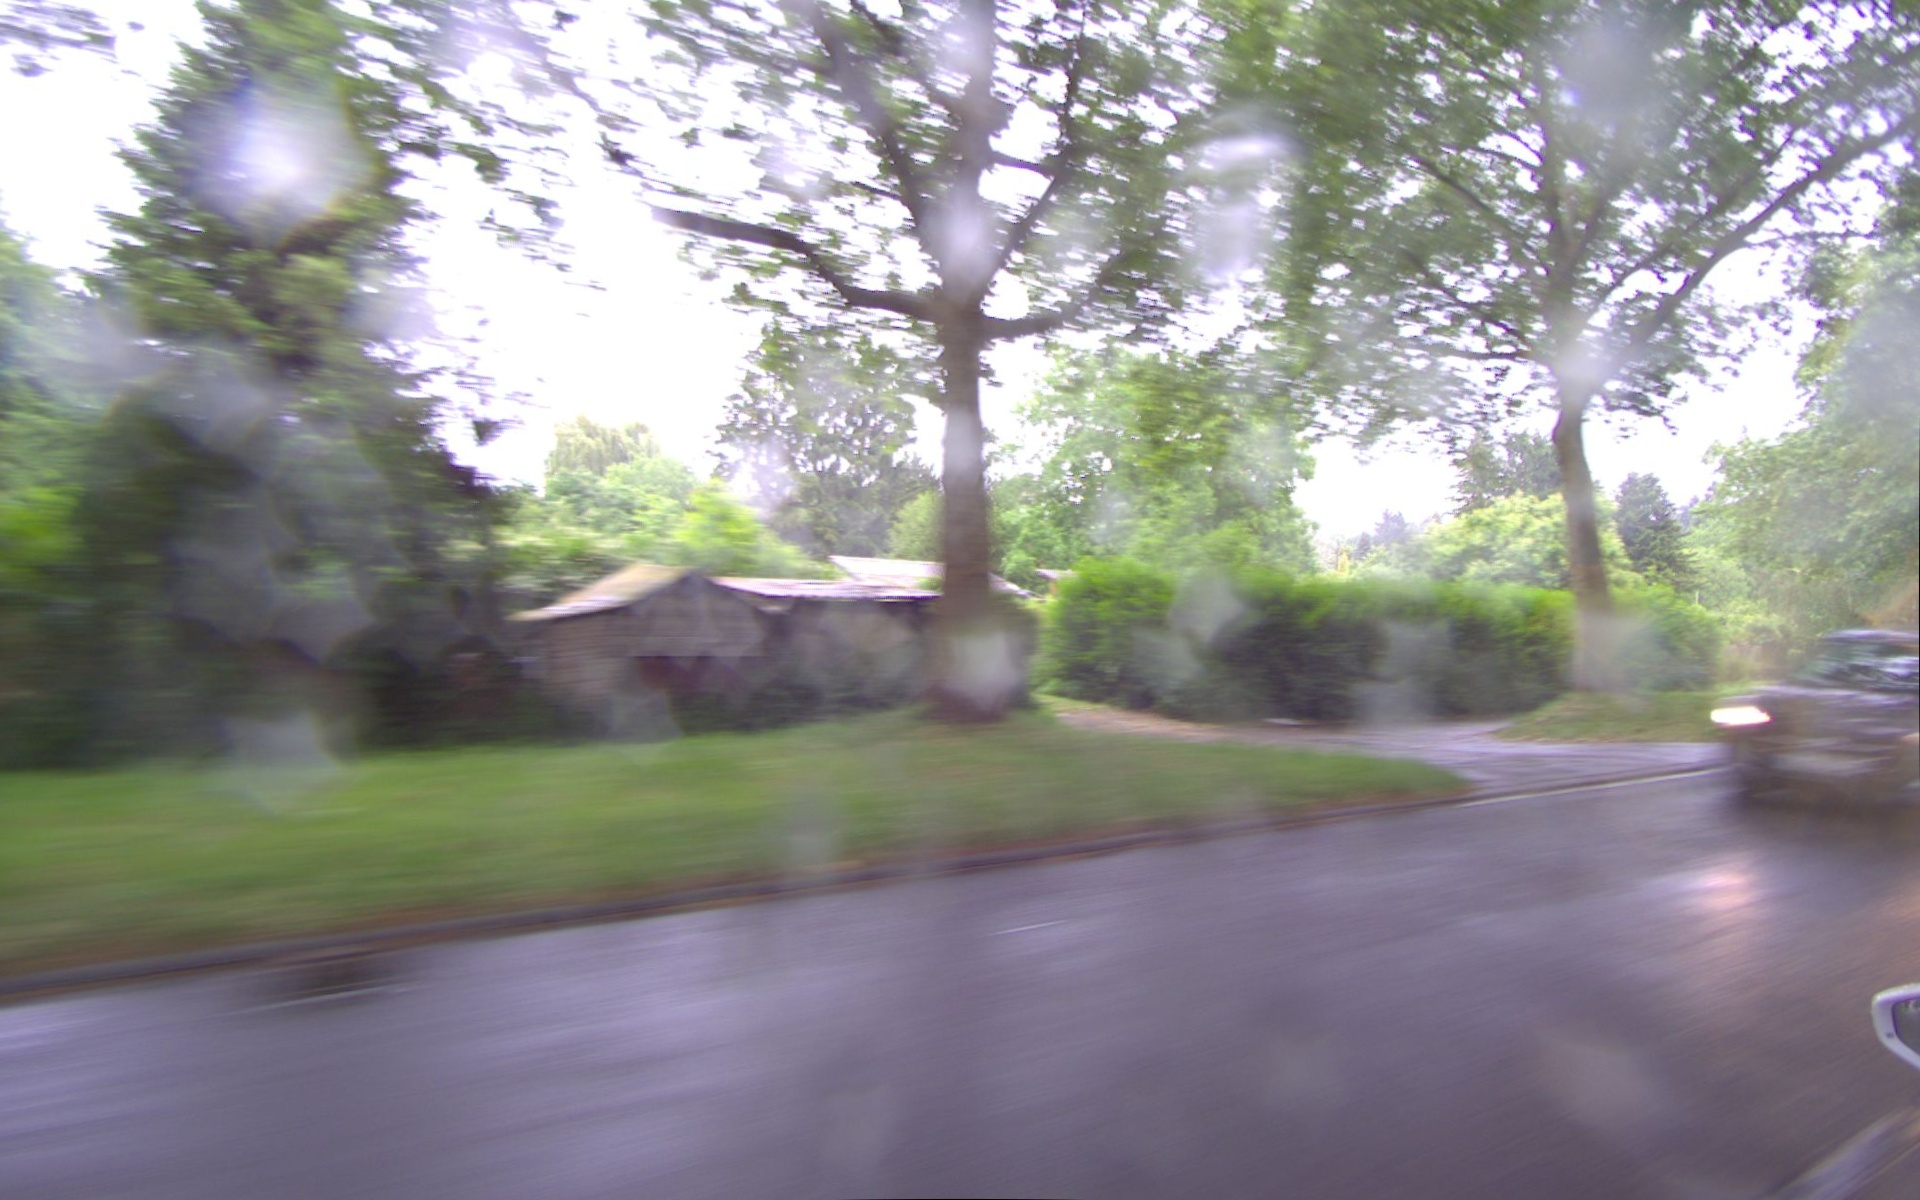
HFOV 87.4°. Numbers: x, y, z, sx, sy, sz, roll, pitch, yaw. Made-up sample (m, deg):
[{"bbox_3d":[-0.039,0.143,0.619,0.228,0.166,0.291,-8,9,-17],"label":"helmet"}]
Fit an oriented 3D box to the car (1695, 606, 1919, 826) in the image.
[{"bbox_3d":[8.265,0.885,8.646,3.958,1.522,1.834,2,1,-33],"label":"car"}]
